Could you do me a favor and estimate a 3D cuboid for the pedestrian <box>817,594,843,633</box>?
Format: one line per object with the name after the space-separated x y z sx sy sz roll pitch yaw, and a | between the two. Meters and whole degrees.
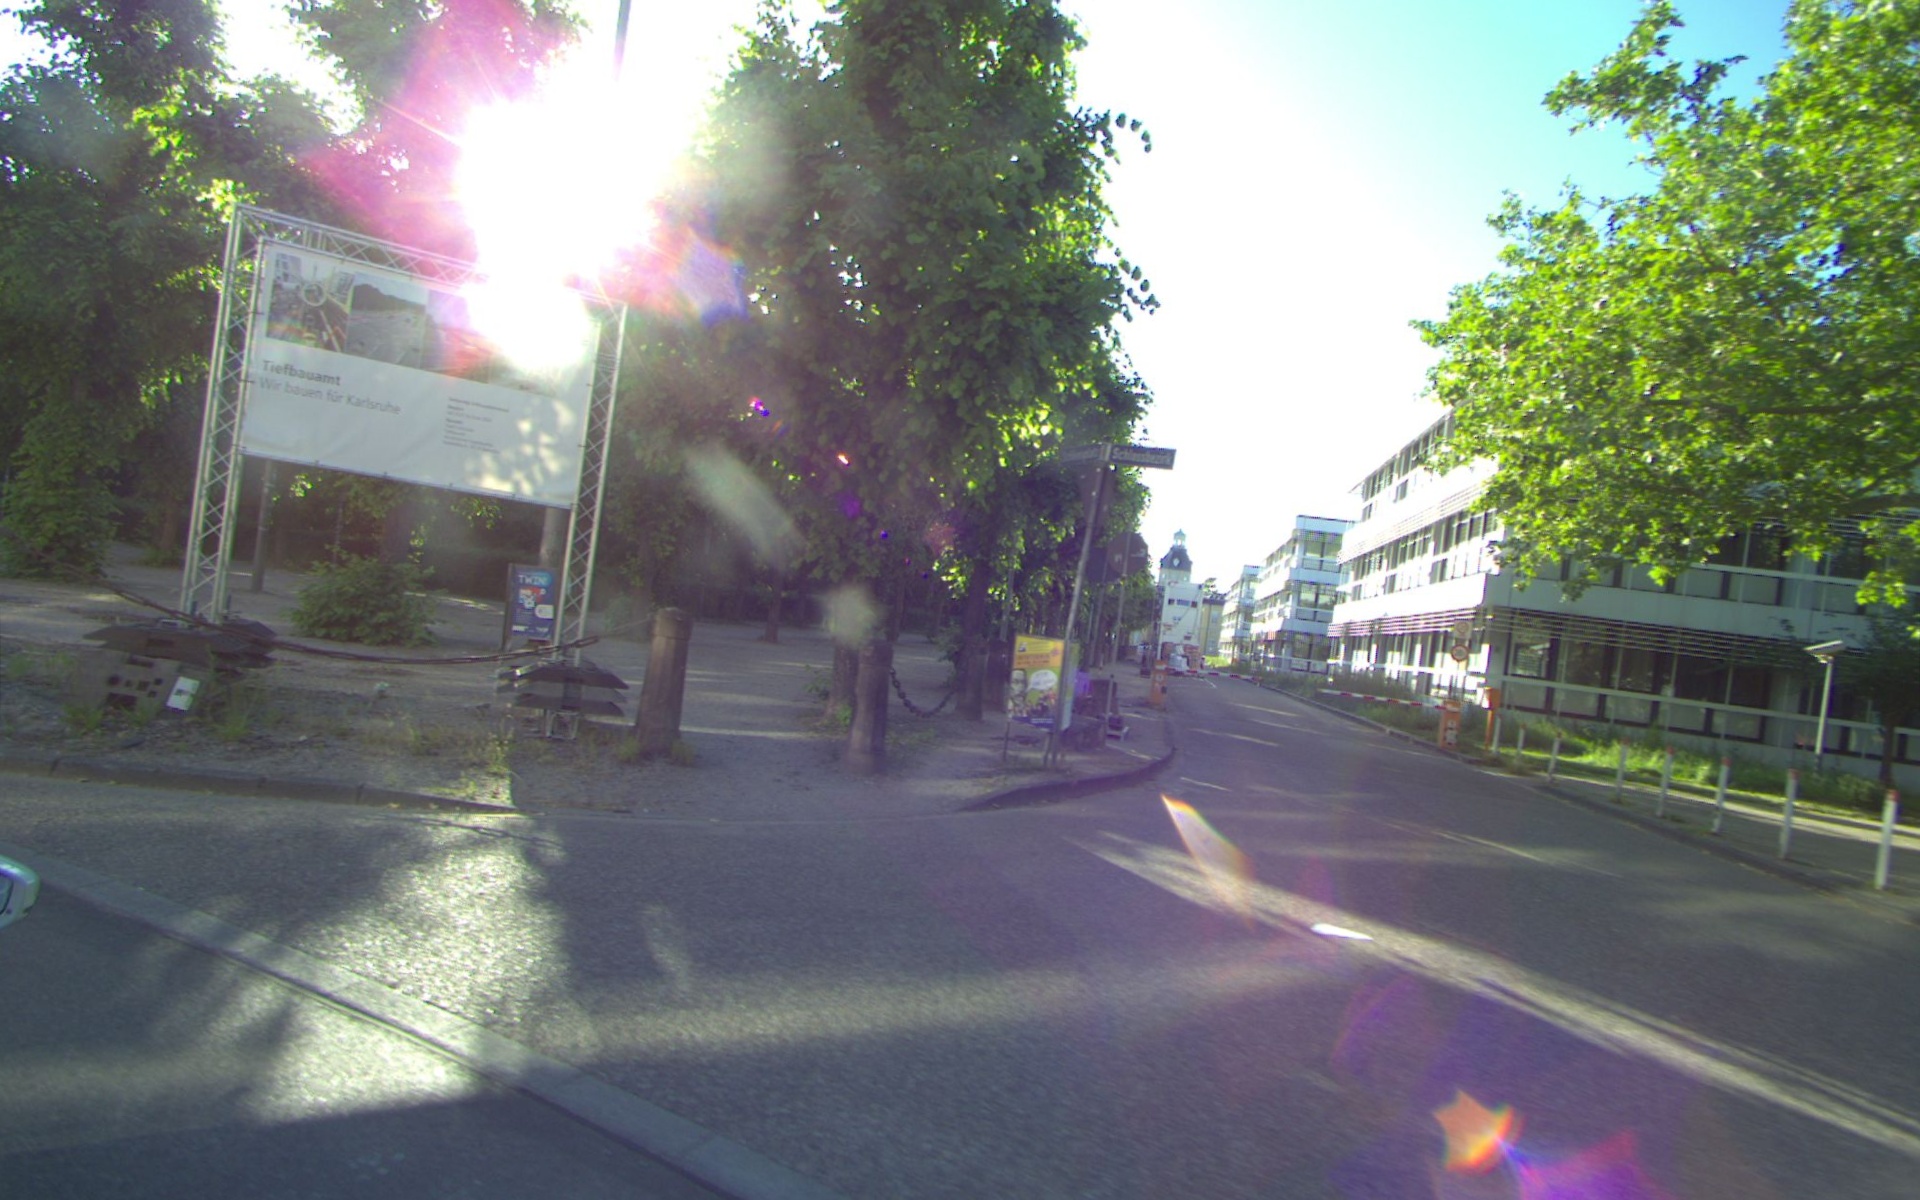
-5.749 0.598 44.452 0.823 1.603 0.681 7 0 8 | pedestrian

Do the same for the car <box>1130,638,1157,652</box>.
33.574 8.188 184.195 4.485 1.812 2.001 8 0 10 | car
